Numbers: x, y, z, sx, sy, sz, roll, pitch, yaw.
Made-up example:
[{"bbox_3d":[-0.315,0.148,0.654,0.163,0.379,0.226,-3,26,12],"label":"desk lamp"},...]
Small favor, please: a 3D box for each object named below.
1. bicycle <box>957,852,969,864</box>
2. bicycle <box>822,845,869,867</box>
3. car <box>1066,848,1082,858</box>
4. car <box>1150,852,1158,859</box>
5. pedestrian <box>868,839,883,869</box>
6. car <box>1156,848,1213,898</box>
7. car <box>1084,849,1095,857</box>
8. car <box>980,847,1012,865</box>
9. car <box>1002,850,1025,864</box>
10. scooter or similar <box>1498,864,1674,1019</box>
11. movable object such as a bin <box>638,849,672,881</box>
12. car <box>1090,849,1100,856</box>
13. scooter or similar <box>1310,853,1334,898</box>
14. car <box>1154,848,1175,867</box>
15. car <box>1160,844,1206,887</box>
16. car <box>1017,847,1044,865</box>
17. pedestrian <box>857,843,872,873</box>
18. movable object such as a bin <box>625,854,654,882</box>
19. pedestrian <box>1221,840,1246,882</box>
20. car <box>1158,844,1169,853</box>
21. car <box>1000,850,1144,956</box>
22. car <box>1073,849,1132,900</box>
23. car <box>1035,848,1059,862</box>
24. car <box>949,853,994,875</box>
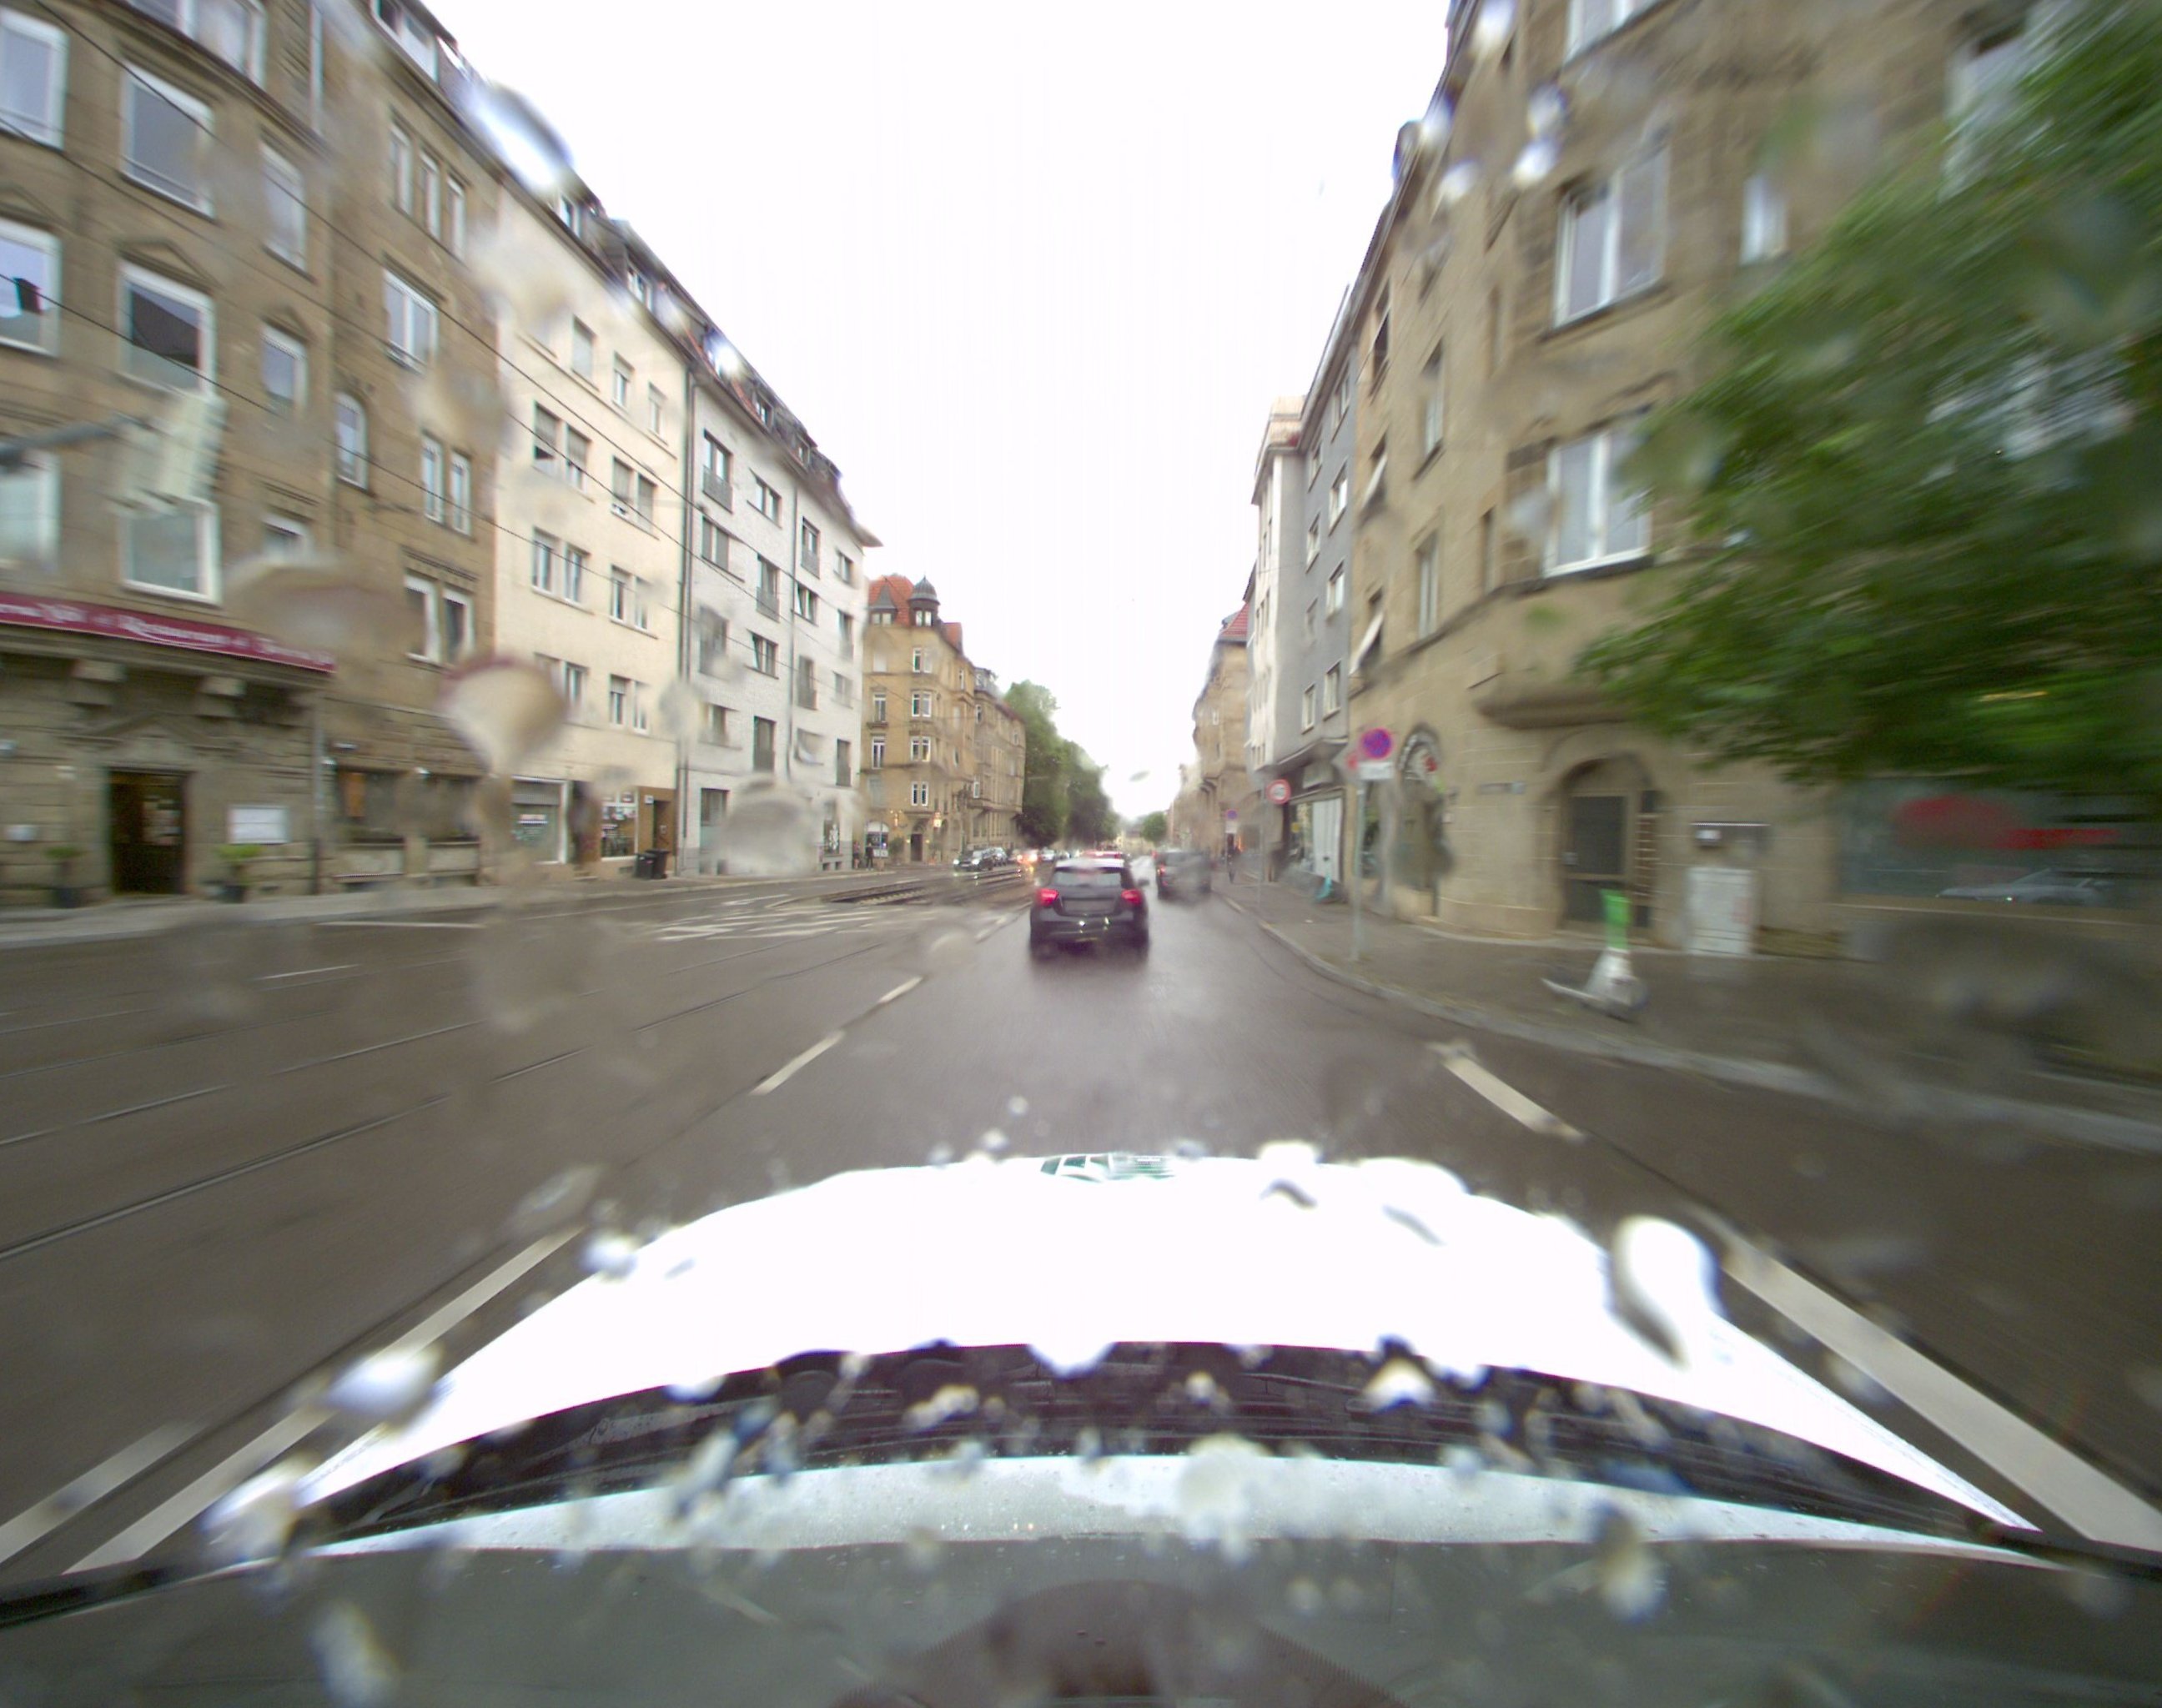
[{"bbox_3d":[-9.861,0.325,68.119,0.596,1.000,2.080,0,0,1],"label":"bicycle"},{"bbox_3d":[-17.554,0.149,60.885,3.142,1.584,1.594,0,0,-7],"label":"bicycle"},{"bbox_3d":[-0.972,-0.112,112.829,1.686,1.388,3.488,0,0,7],"label":"car"},{"bbox_3d":[13.786,0.225,153.860,1.606,1.317,4.006,0,0,5],"label":"car"},{"bbox_3d":[-12.324,0.003,48.780,0.626,1.787,0.883,-1,-1,4],"label":"pedestrian"},{"bbox_3d":[3.441,0.574,27.798,1.757,1.559,4.752,0,0,5],"label":"car"},{"bbox_3d":[1.467,-0.177,141.409,1.561,1.413,3.488,0,0,7],"label":"car"},{"bbox_3d":[-7.504,0.142,72.320,1.797,1.597,4.534,0,0,7],"label":"car"},{"bbox_3d":[-6.785,0.302,81.956,1.561,1.316,3.488,0,0,7],"label":"car"},{"bbox_3d":[4.443,0.713,7.295,0.635,1.210,1.553,0,0,1],"label":"scooter or similar"},{"bbox_3d":[-14.922,0.382,28.540,0.709,1.074,0.688,4,0,4],"label":"movable object such as a bin"},{"bbox_3d":[2.767,-0.248,158.935,1.561,1.413,3.488,0,0,7],"label":"car"},{"bbox_3d":[6.651,0.580,22.524,0.393,1.216,1.108,0,0,3],"label":"scooter or similar"},{"bbox_3d":[6.765,0.236,66.234,1.614,1.484,4.006,0,0,5],"label":"car"},{"bbox_3d":[4.176,0.429,33.764,1.675,1.670,4.127,0,0,4],"label":"car"},{"bbox_3d":[-4.511,0.165,72.710,1.671,1.497,3.527,0,0,9],"label":"car"},{"bbox_3d":[-12.964,0.229,48.776,0.637,1.787,0.924,-1,-1,4],"label":"pedestrian"},{"bbox_3d":[-15.095,0.468,27.852,0.591,0.911,0.561,4,0,4],"label":"movable object such as a bin"},{"bbox_3d":[6.580,0.288,35.232,0.941,1.769,1.016,0,0,3],"label":"pedestrian"},{"bbox_3d":[12.367,-0.757,122.319,1.606,1.317,4.006,0,0,5],"label":"car"},{"bbox_3d":[0.018,0.682,13.533,1.857,1.452,4.008,0,1,7],"label":"car"},{"bbox_3d":[0.763,0.595,26.195,1.642,1.452,4.006,1,1,5],"label":"car"},{"bbox_3d":[-3.550,0.078,85.542,1.797,1.360,4.772,0,0,6],"label":"car"},{"bbox_3d":[-7.165,0.634,53.721,1.938,1.396,4.281,-1,0,5],"label":"car"}]
